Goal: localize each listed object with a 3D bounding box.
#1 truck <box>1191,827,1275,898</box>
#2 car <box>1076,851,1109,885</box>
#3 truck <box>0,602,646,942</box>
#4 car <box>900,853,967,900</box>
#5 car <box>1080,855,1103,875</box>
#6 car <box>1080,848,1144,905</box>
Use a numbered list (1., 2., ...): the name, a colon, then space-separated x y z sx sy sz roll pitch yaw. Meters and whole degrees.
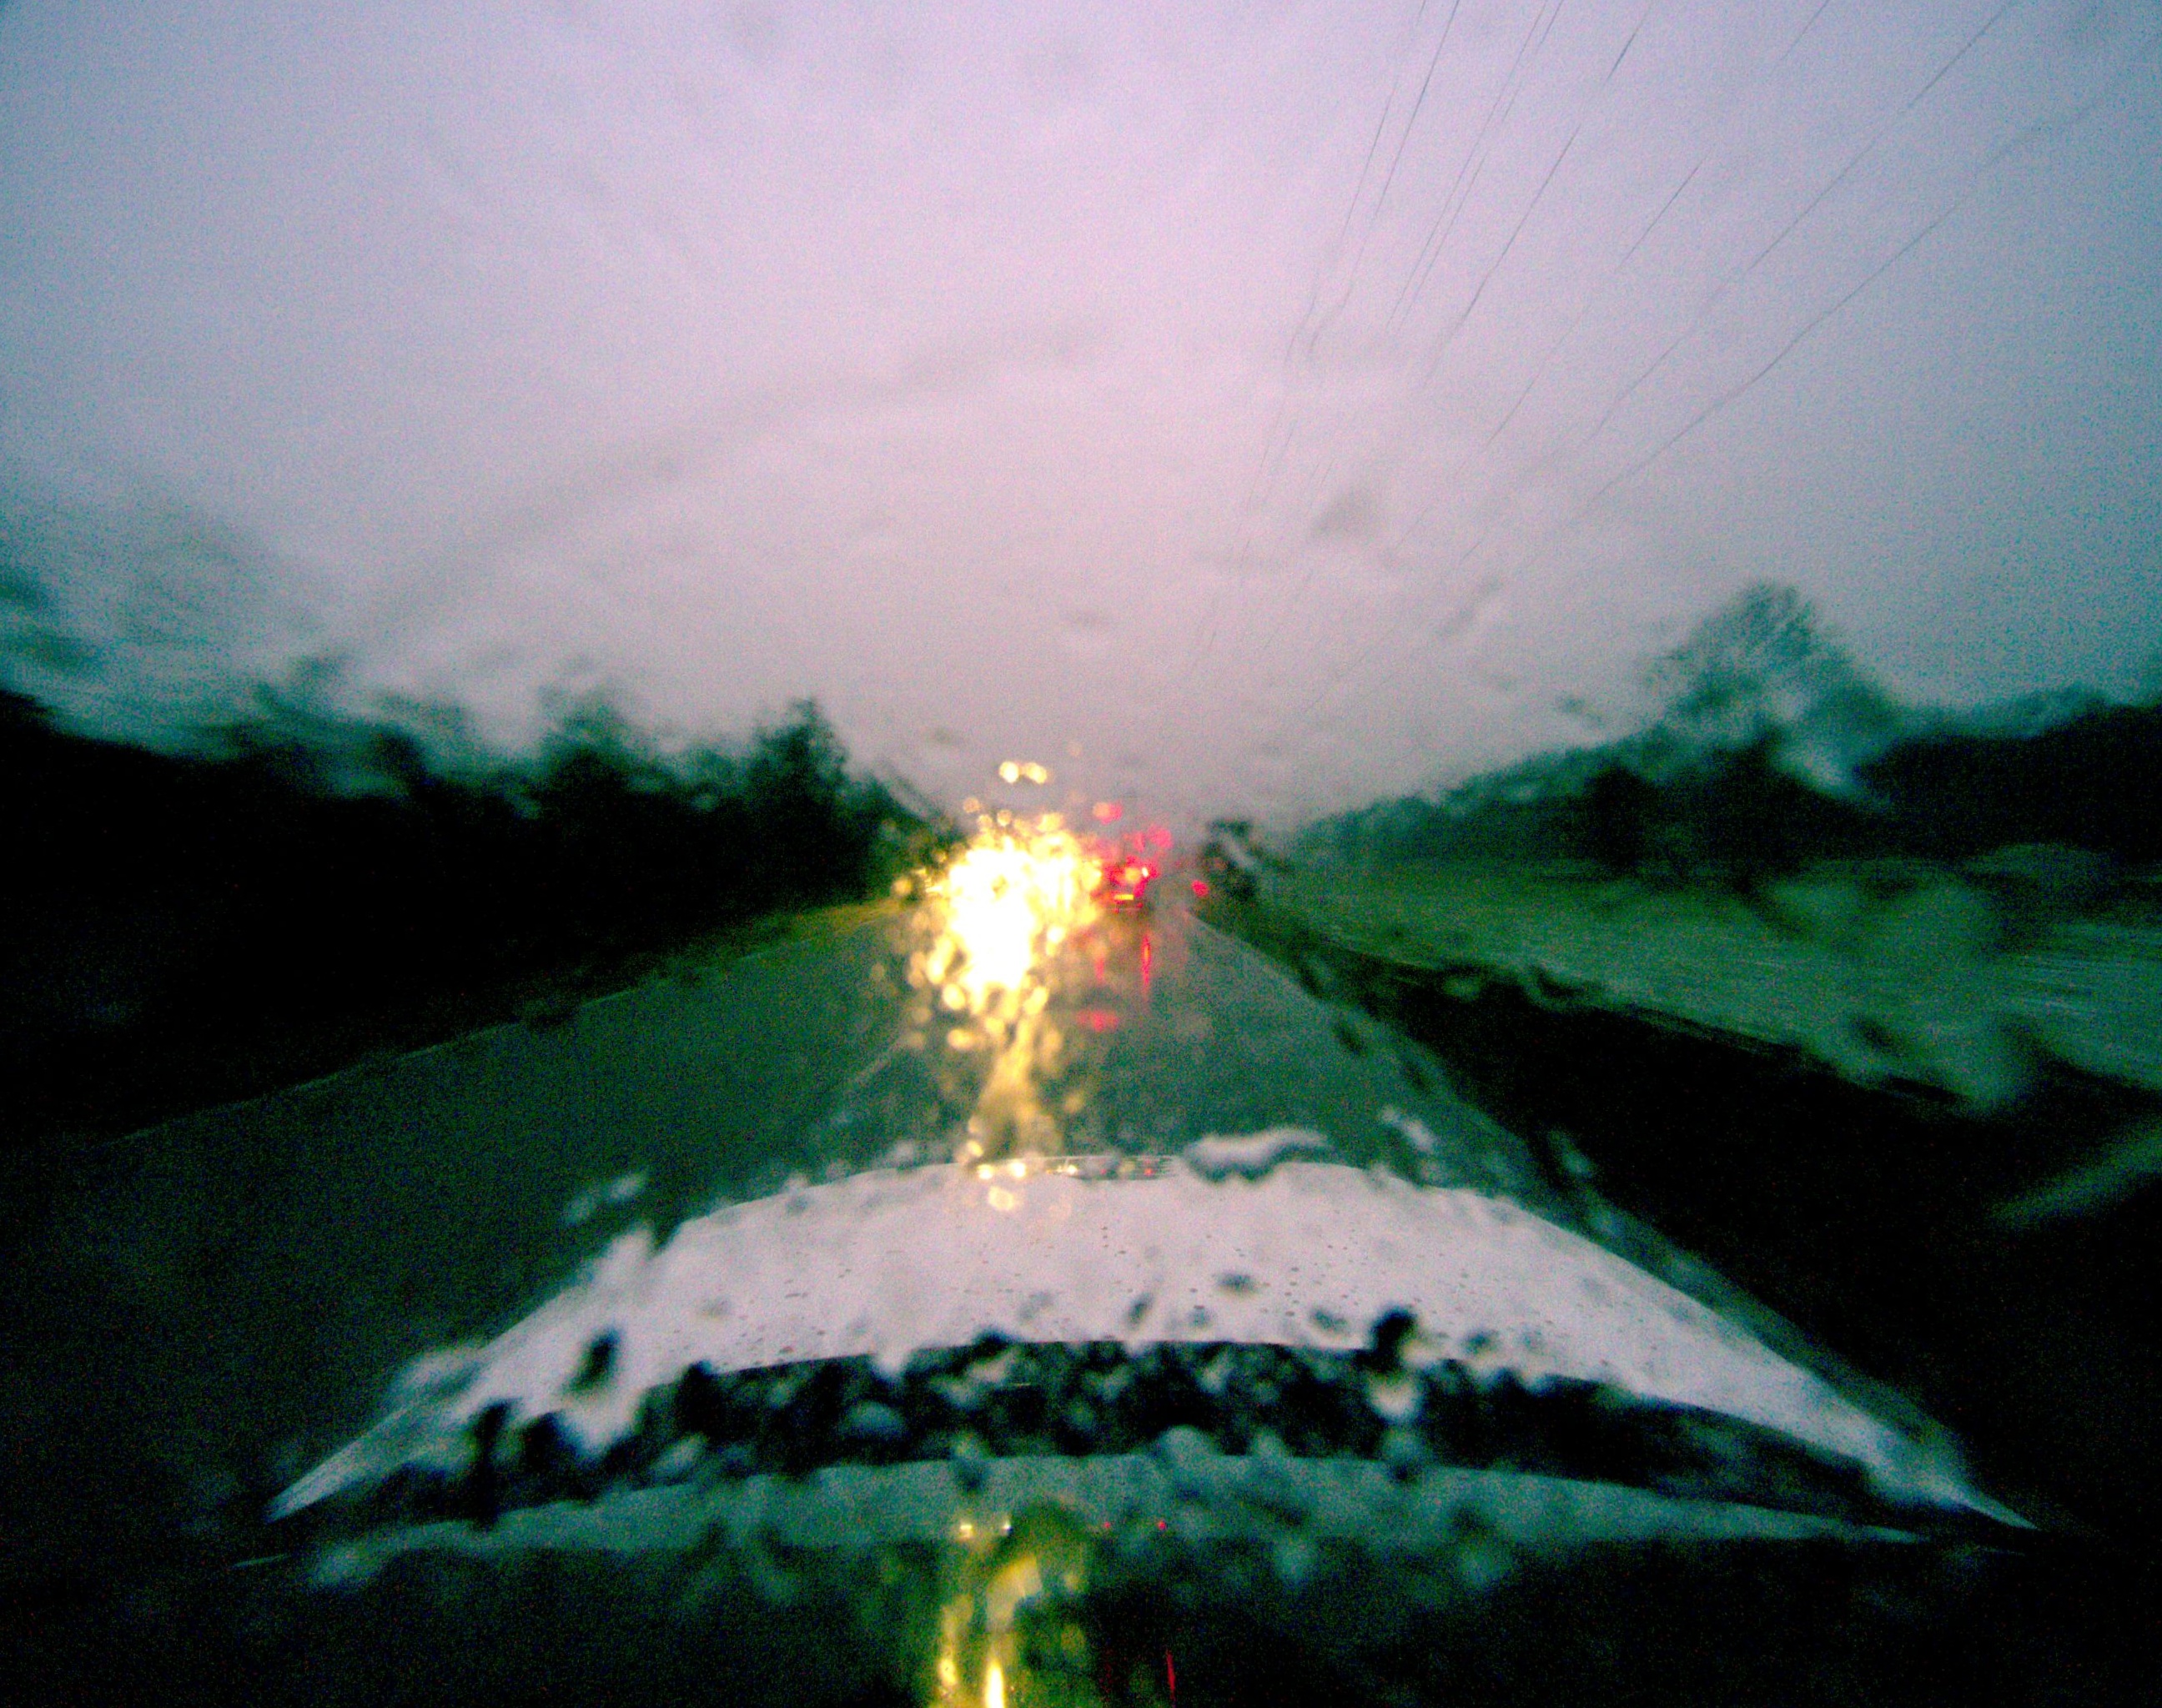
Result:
1. truck: 6.929 0.389 38.182 2.525 2.978 7.857 -1 0 0
2. car: 0.666 0.842 49.860 1.847 2.014 3.997 0 0 -2
3. truck: -28.099 -1.789 24.290 7.515 7.713 40.165 -1 0 2
4. car: -5.436 0.784 30.449 1.666 1.630 3.977 -1 0 1
5. car: 0.860 0.908 70.186 1.764 1.591 4.161 -1 0 -2
6. car: 0.776 0.576 22.002 1.496 1.398 3.197 0 0 -2
